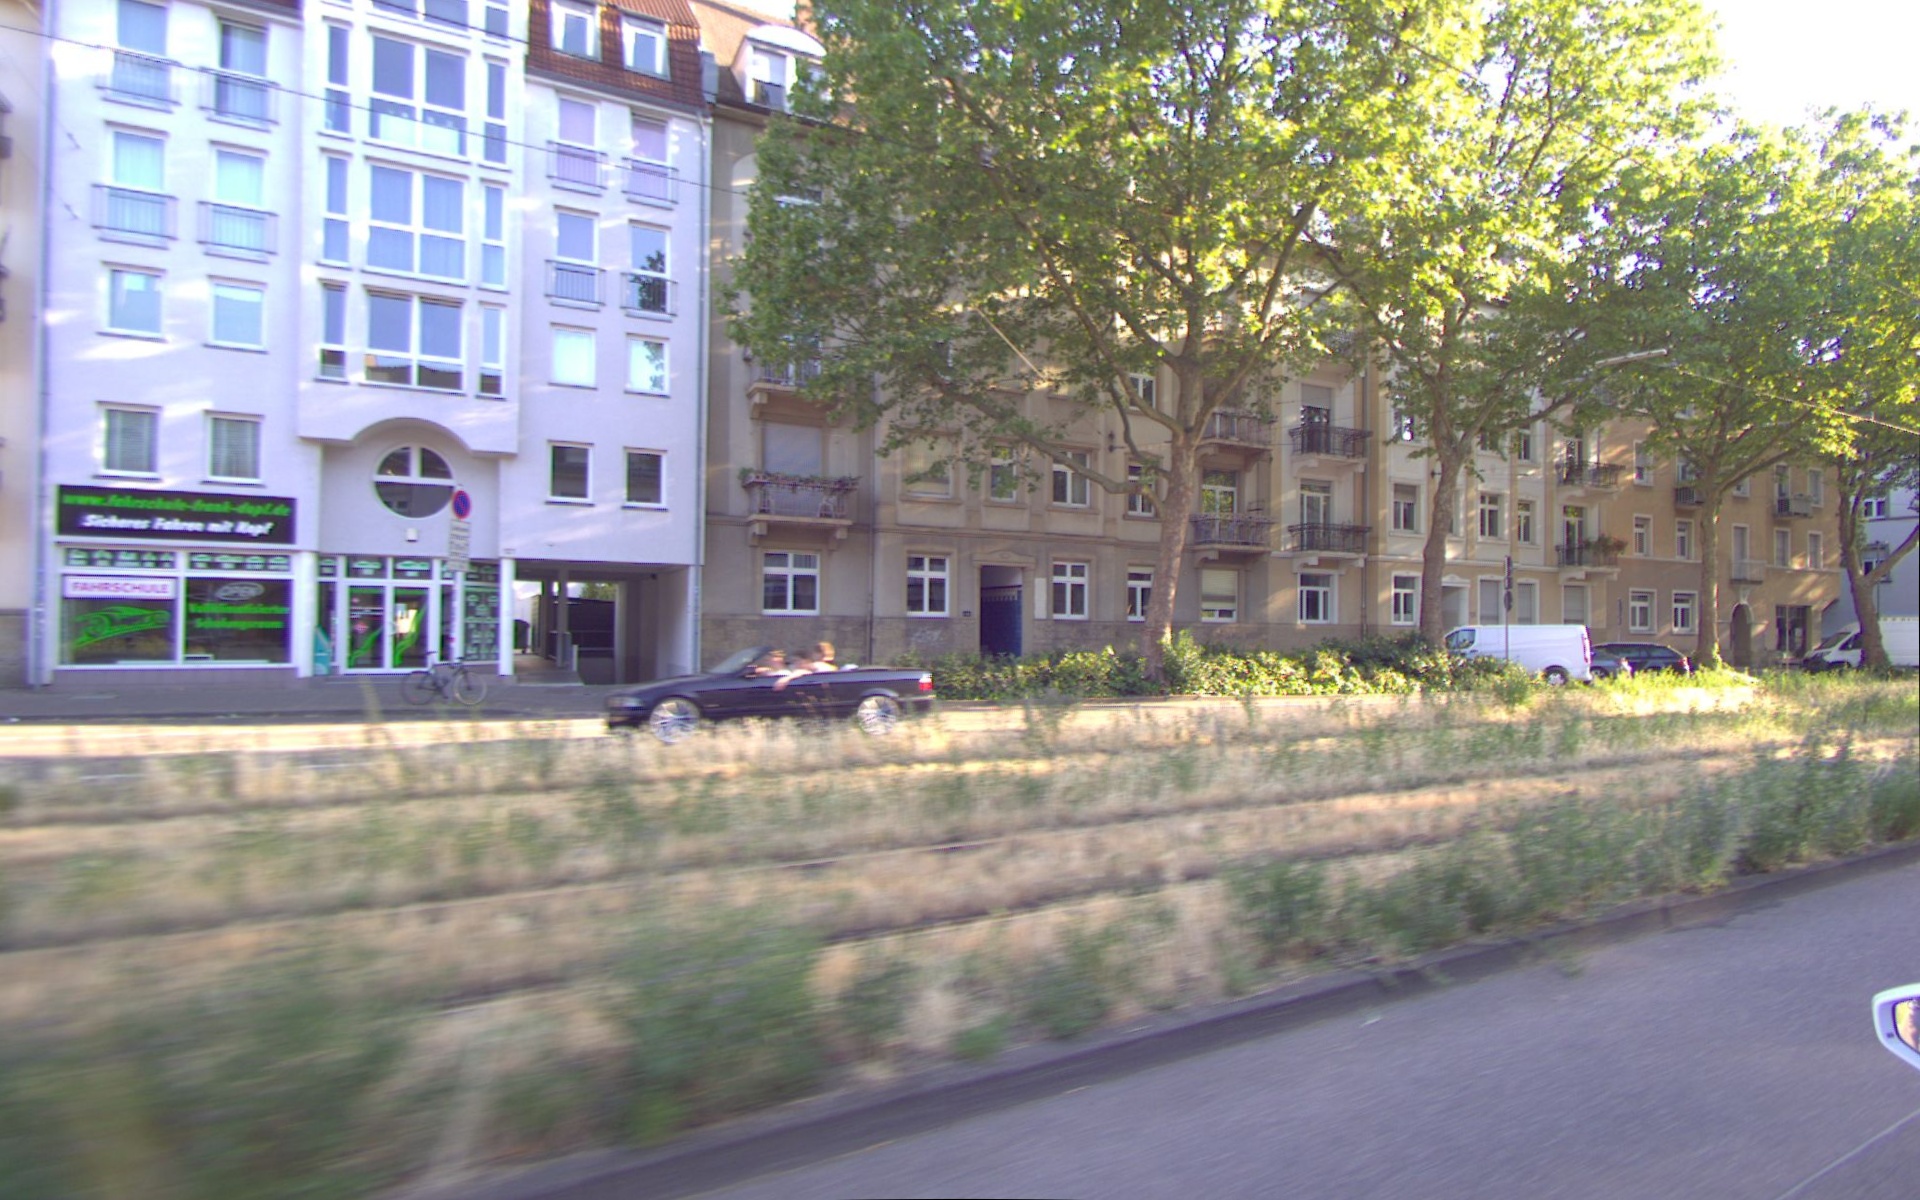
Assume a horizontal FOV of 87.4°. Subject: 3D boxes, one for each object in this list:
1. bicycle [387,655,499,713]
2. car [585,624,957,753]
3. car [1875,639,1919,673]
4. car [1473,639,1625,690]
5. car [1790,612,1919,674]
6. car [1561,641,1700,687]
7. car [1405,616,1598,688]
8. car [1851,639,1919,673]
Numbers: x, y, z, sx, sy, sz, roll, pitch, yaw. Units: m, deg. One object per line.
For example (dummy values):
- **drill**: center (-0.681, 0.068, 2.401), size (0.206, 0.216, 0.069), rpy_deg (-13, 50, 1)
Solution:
- **bicycle**: center (-10.398, 1.696, 20.254), size (1.862, 1.047, 0.757), rpy_deg (2, 4, -13)
- **car**: center (-2.487, 1.132, 13.527), size (4.639, 1.505, 1.710), rpy_deg (1, -4, -27)
- **car**: center (43.959, 2.507, 45.340), size (3.646, 1.485, 1.732), rpy_deg (-2, -2, 32)
- **car**: center (19.209, 2.071, 32.968), size (4.095, 1.511, 1.721), rpy_deg (0, -1, 22)
- **car**: center (38.997, 1.807, 42.648), size (5.401, 2.562, 2.126), rpy_deg (0, -1, 22)
- **car**: center (22.724, 2.143, 34.213), size (3.656, 1.441, 1.721), rpy_deg (0, -1, 22)
- **car**: center (16.778, 1.587, 31.451), size (5.145, 2.093, 1.721), rpy_deg (0, -1, 22)
- **car**: center (41.586, 2.462, 43.836), size (3.638, 1.418, 1.736), rpy_deg (0, -1, 22)
